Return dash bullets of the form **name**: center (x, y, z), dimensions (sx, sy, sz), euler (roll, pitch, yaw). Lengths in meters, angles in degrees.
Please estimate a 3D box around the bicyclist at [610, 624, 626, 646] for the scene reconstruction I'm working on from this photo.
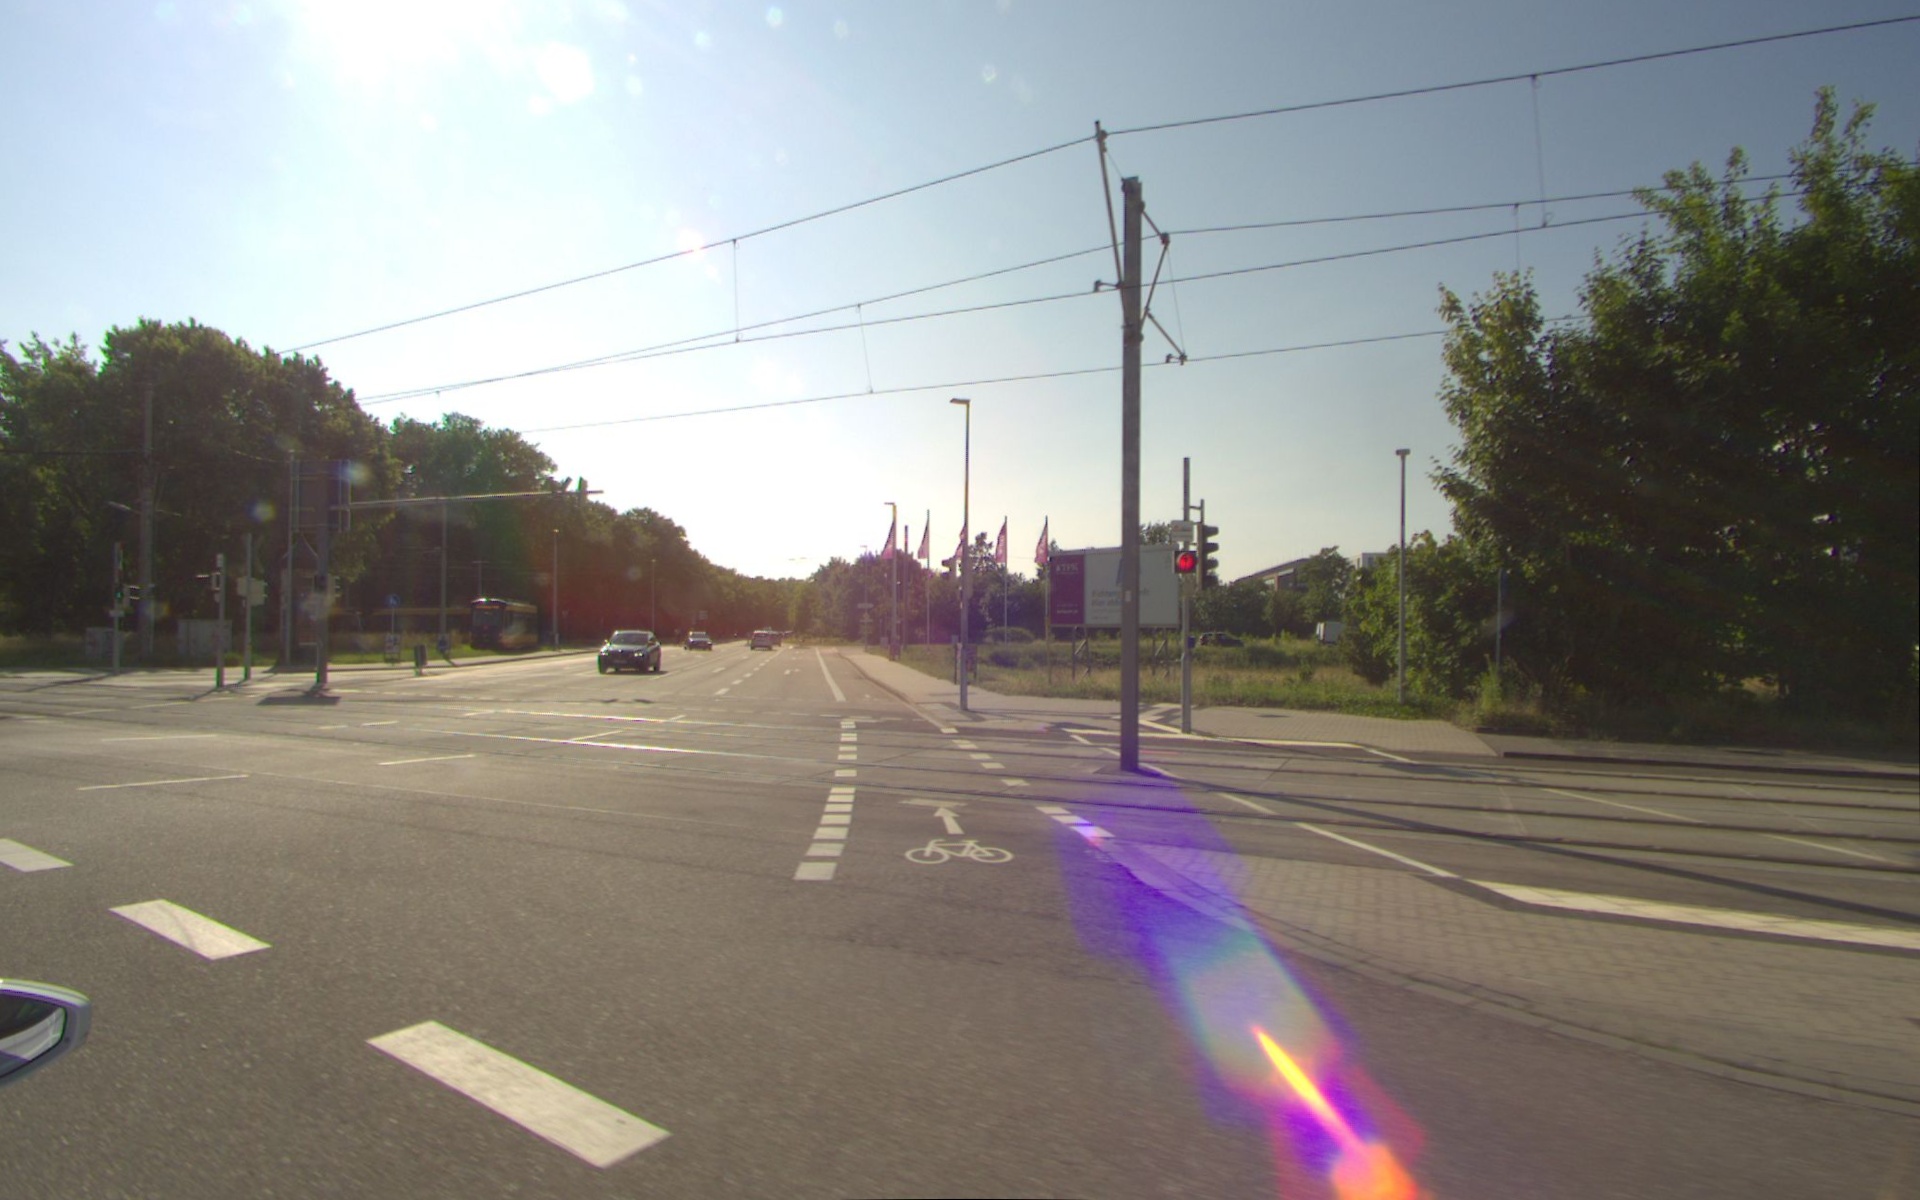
- **bicyclist**: center (-31.201, 3.196, 91.423), dimensions (1.077, 2.039, 1.141), euler (0, -2, -2)

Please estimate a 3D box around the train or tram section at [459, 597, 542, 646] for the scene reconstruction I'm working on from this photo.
- **train or tram section**: center (-37.012, 1.758, 80.331), dimensions (3.020, 3.625, 12.130), euler (2, -2, -39)

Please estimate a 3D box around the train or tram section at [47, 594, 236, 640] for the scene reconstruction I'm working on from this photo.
- **train or tram section**: center (-69.094, 1.508, 85.069), dimensions (12.069, 3.625, 3.036), euler (2, -2, -33)

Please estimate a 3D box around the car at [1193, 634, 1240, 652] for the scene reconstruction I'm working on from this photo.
- **car**: center (24.711, 4.147, 96.500), dimensions (3.922, 1.616, 2.001), euler (1, -1, -2)

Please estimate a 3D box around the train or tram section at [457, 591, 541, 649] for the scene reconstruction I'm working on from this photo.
- **train or tram section**: center (-31.659, 1.434, 69.281), dimensions (2.998, 3.625, 11.840), euler (1, -2, -14)

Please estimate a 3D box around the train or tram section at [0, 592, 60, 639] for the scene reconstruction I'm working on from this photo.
- **train or tram section**: center (-78.735, 1.149, 78.215), dimensions (12.296, 3.625, 3.031), euler (2, -2, -38)

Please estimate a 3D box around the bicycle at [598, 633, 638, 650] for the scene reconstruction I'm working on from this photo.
- **bicycle**: center (-31.211, 3.789, 91.418), dimensions (3.166, 1.472, 1.131), euler (0, -2, -1)

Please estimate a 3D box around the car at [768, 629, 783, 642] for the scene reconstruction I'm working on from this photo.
- **car**: center (-20.794, 4.015, 112.905), dimensions (1.576, 1.401, 3.529), euler (1, -2, -8)

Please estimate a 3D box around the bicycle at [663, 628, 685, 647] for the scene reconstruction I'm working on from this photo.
- **bicycle**: center (-27.682, 3.614, 97.050), dimensions (2.584, 1.735, 0.789), euler (-1, -2, 43)

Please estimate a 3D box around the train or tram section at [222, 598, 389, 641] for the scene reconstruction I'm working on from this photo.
- **train or tram section**: center (-57.909, 1.776, 88.961), dimensions (12.005, 3.625, 3.052), euler (1, -1, -12)

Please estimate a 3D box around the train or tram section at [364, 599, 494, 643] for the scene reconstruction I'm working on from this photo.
- **train or tram section**: center (-46.452, 1.812, 87.426), dimensions (12.022, 3.625, 3.047), euler (0, -1, 22)

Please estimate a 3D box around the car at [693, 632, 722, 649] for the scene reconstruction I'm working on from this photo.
- **car**: center (-20.340, 3.234, 80.728), dimensions (1.716, 1.352, 4.307), euler (1, -2, -6)

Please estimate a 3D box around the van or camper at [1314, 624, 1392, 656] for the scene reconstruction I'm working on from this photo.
- **van or camper**: center (37.791, 3.790, 96.398), dimensions (6.611, 2.815, 2.240), euler (2, 0, 2)

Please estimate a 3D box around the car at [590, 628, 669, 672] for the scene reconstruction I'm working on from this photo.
- **car**: center (-13.108, 1.934, 40.021), dimensions (2.005, 1.583, 4.861), euler (1, -1, -6)

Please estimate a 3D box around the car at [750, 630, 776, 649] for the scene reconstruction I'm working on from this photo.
- **car**: center (-17.173, 3.458, 87.363), dimensions (1.820, 1.582, 4.204), euler (1, -2, -6)
